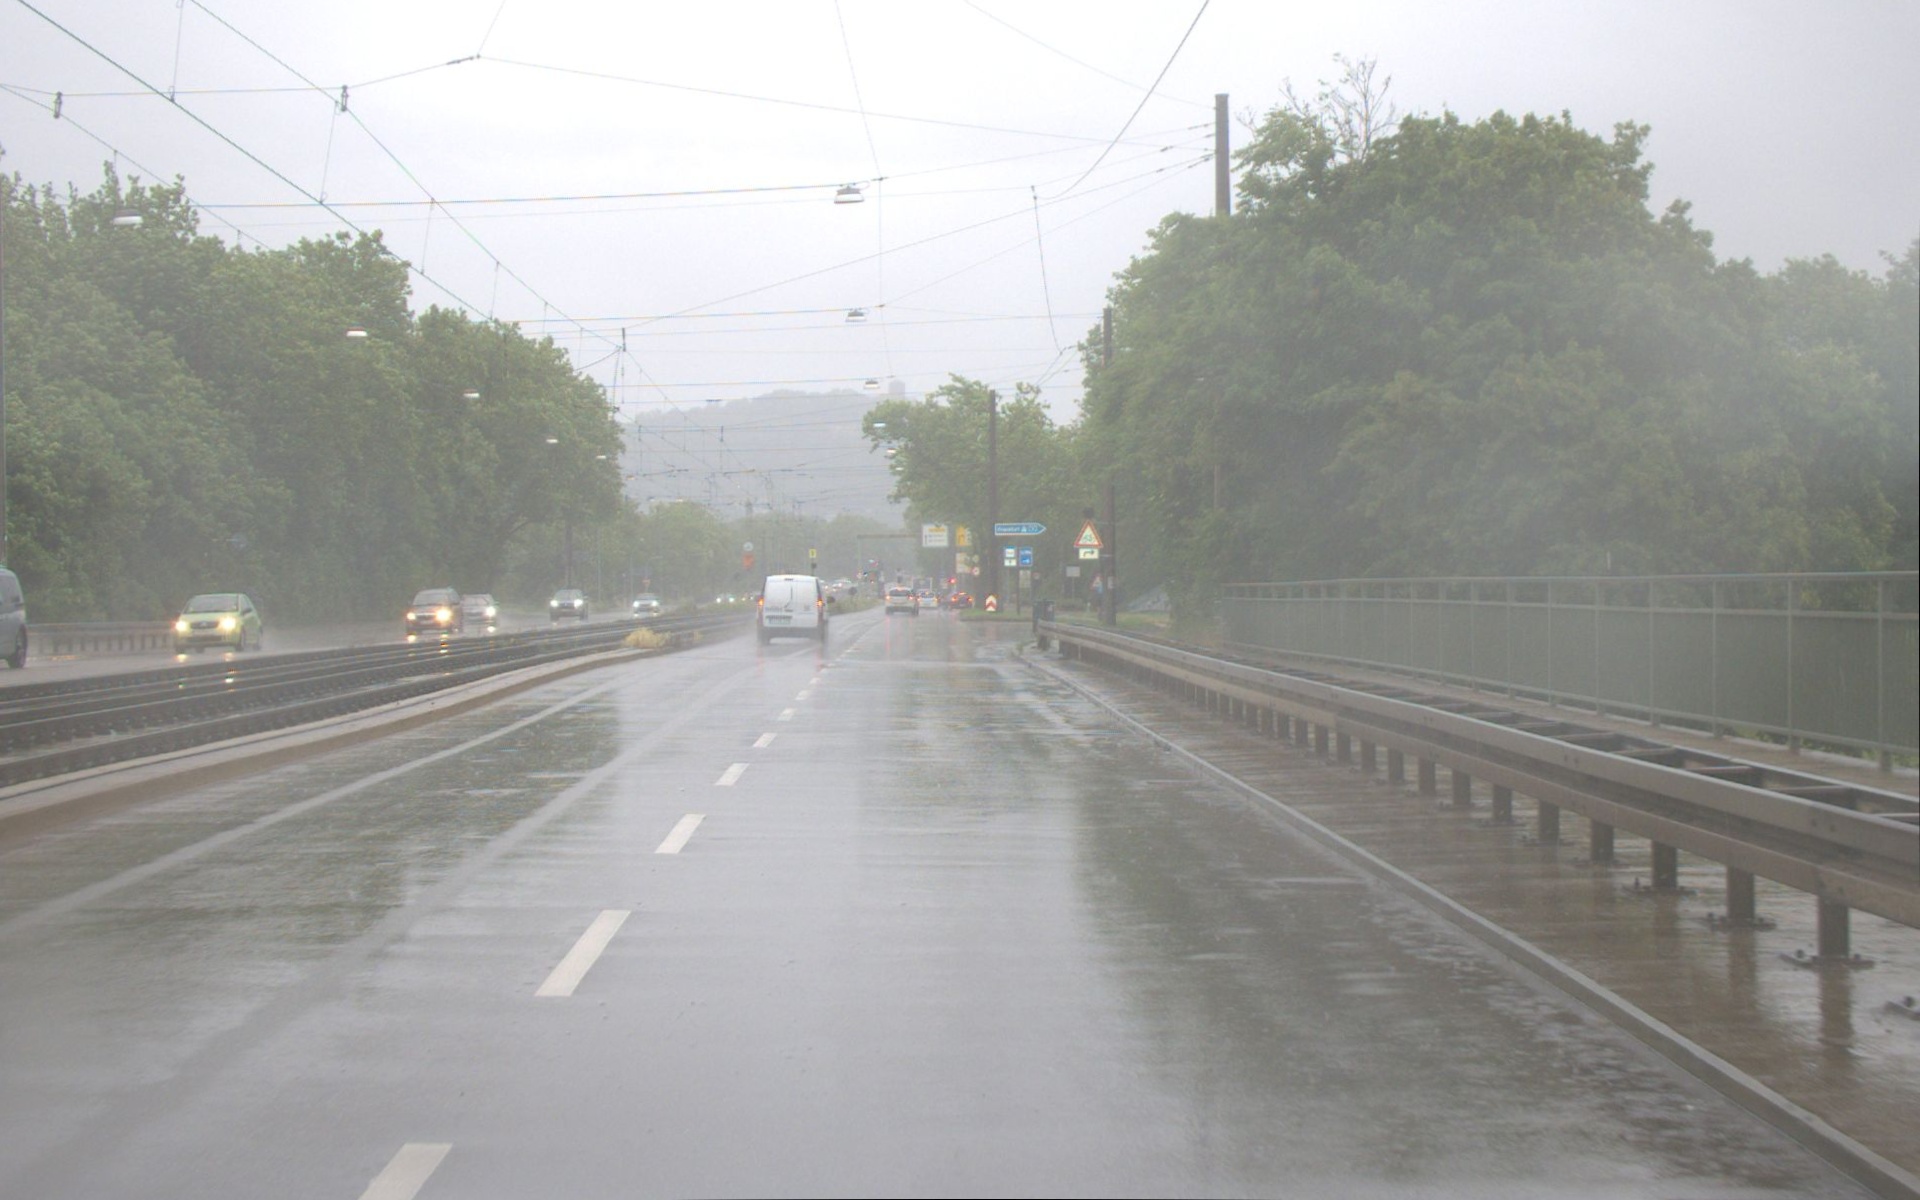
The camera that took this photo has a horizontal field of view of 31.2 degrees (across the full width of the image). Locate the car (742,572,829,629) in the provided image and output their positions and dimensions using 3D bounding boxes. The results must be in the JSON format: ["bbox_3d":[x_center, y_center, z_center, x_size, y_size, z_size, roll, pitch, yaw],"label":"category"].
[{"bbox_3d":[-4.508,0.016,89.305,2.077,1.415,4.000,-1,0,-1],"label":"car"}]

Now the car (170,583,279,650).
[{"bbox_3d":[-18.004,0.397,84.304,1.846,1.589,4.000,1,0,-1],"label":"car"}]

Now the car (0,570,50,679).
[{"bbox_3d":[-17.123,0.379,58.886,1.848,1.825,4.394,3,0,-1],"label":"car"}]

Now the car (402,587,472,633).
[{"bbox_3d":[-18.552,0.345,122.041,1.841,1.568,4.385,1,0,-1],"label":"car"}]

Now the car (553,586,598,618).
[{"bbox_3d":[-20.520,0.092,183.555,1.993,1.667,4.873,0,0,-2],"label":"car"}]
